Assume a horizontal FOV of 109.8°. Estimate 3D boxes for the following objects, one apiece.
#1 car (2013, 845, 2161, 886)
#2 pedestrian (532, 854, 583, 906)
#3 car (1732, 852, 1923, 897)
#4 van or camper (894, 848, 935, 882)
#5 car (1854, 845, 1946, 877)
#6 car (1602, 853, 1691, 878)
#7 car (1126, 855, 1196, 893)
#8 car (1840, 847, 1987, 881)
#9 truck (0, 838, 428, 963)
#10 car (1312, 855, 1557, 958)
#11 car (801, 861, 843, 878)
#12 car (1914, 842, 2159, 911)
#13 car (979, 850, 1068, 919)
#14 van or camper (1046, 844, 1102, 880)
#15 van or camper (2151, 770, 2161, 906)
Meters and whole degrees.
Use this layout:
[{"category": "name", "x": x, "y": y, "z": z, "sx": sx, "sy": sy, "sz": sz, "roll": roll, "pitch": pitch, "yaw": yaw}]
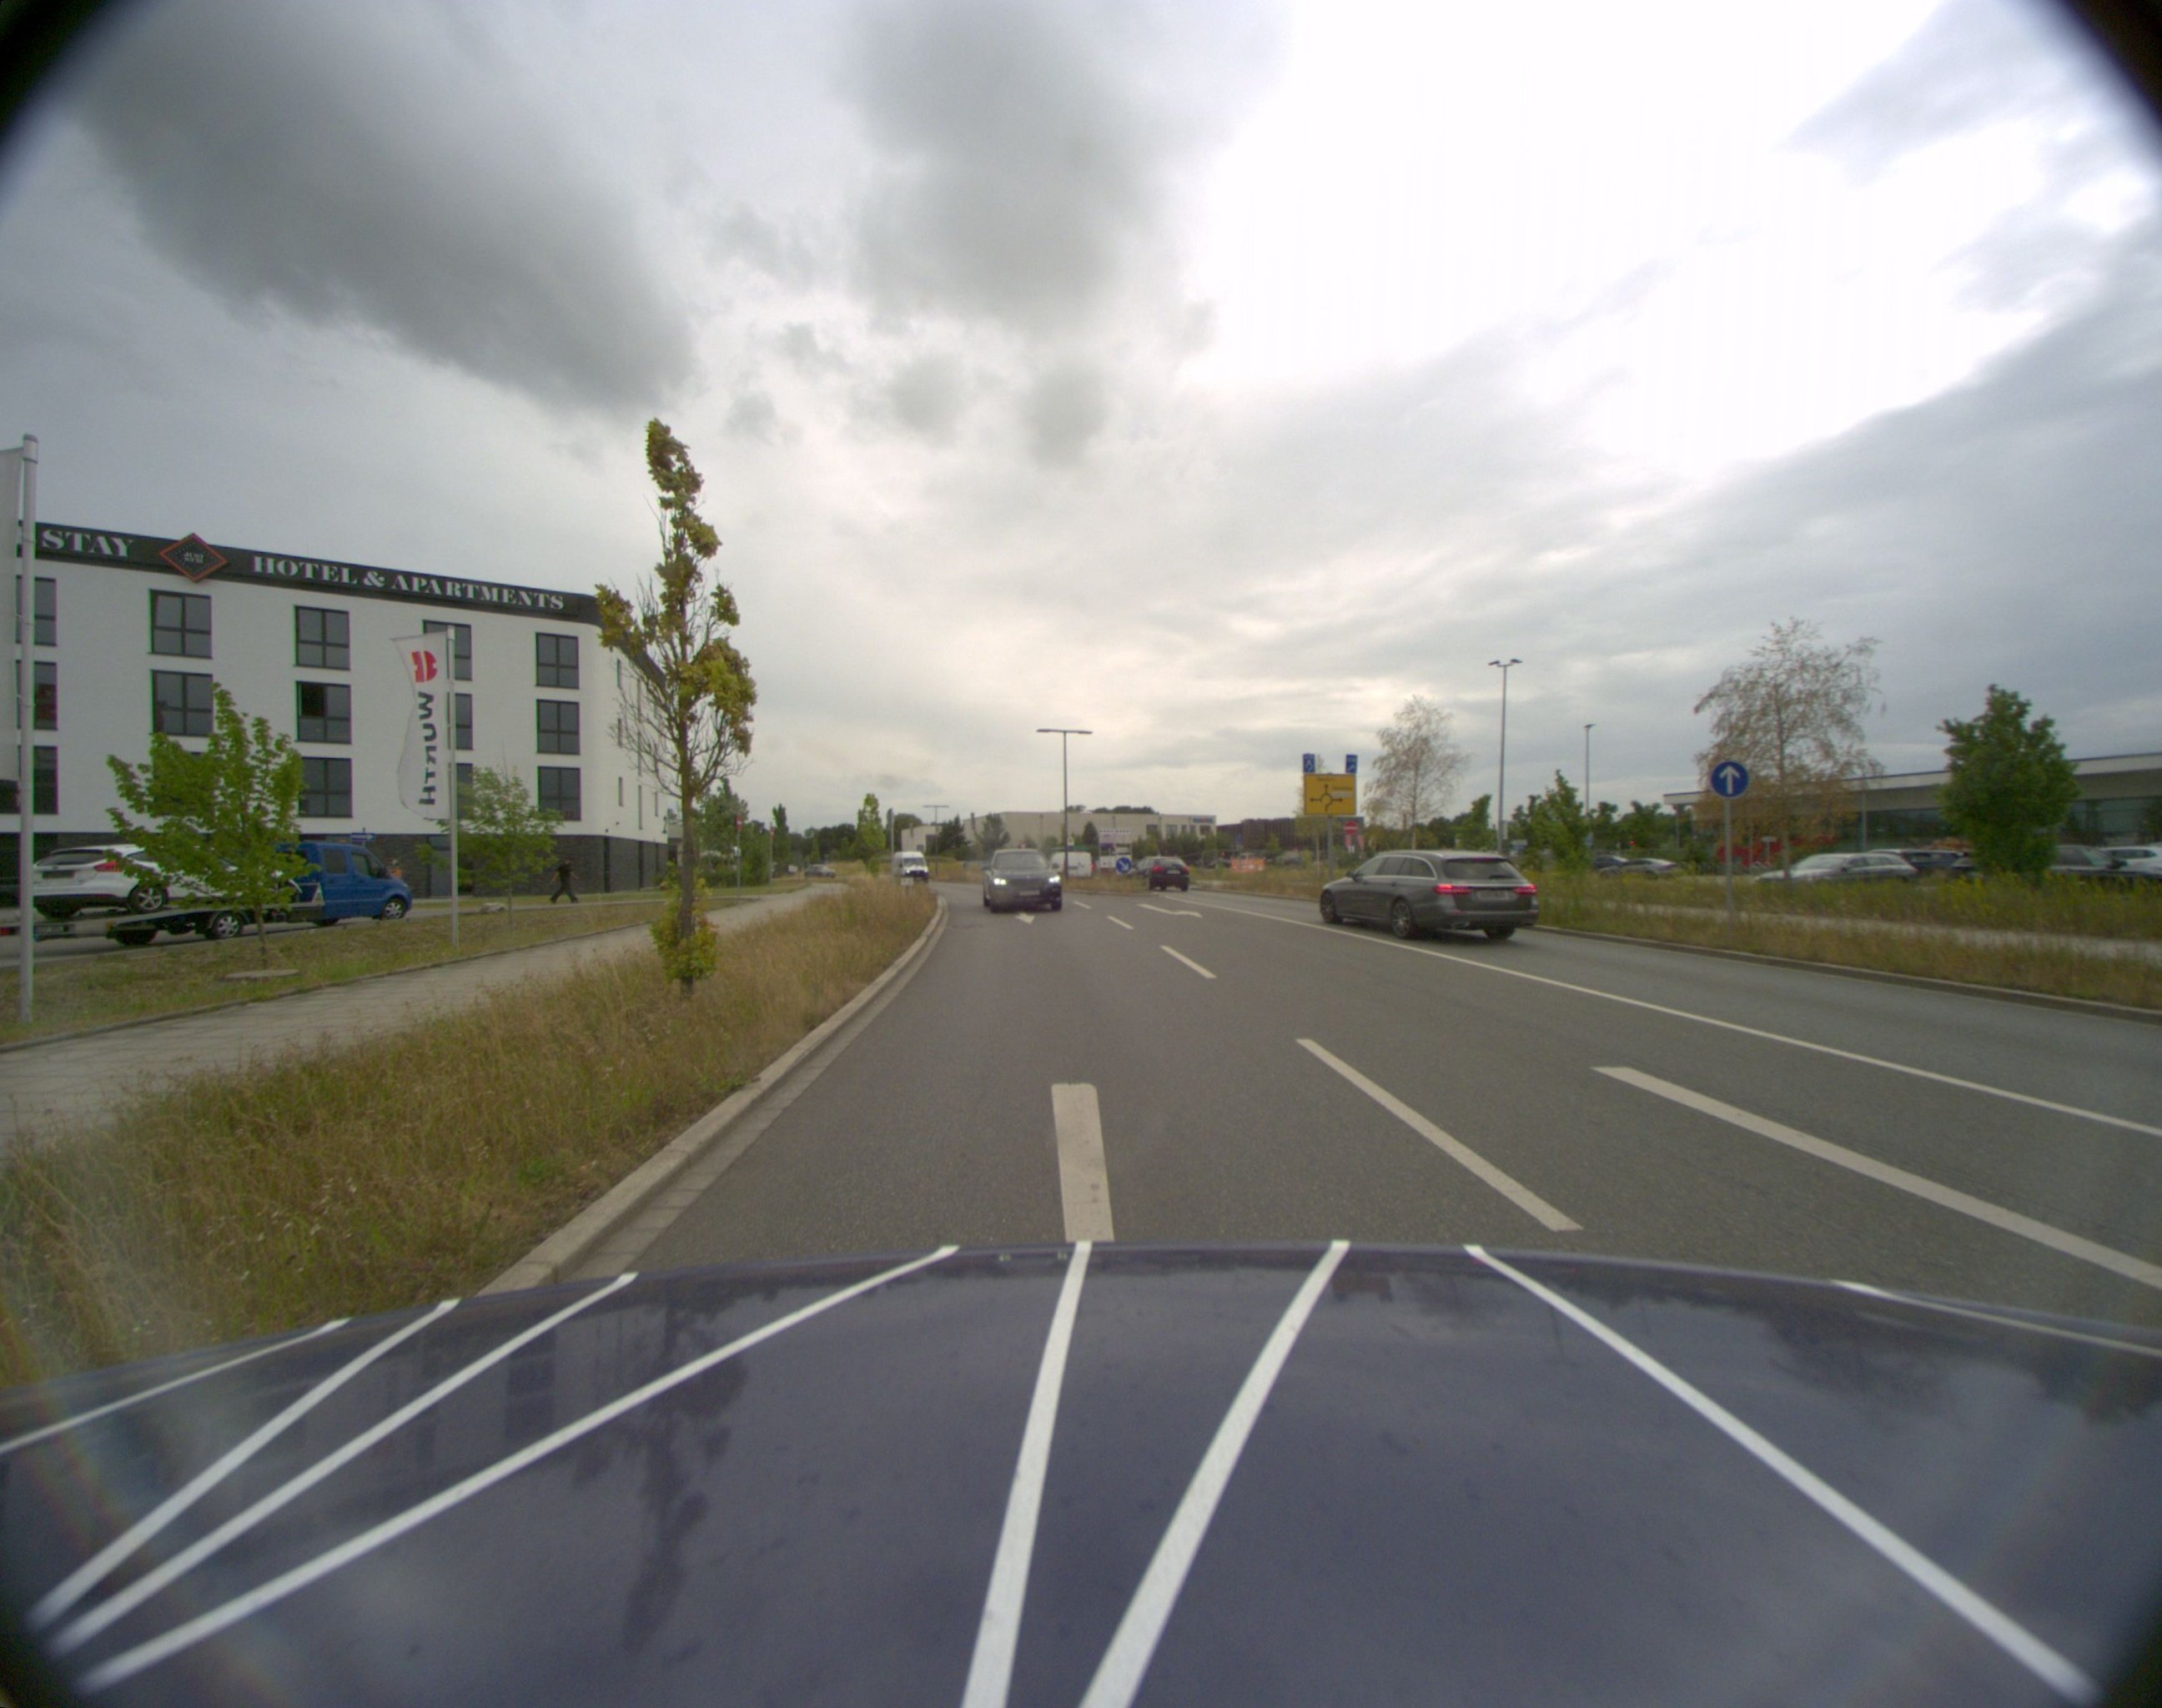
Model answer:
[{"category": "car", "x": 38.691, "y": 0.403, "z": 28.765, "sx": 1.892, "sy": 1.433, "sz": 3.897, "roll": -1, "pitch": 0, "yaw": -17}, {"category": "pedestrian", "x": -19.395, "y": 0.948, "z": 28.177, "sx": 1.196, "sy": 1.847, "sz": 1.073, "roll": -1, "pitch": 2, "yaw": -14}, {"category": "car", "x": 24.588, "y": 0.644, "z": 25.118, "sx": 4.581, "sy": 1.358, "sz": 2.141, "roll": -1, "pitch": 0, "yaw": -7}, {"category": "van or camper", "x": -13.588, "y": 0.869, "z": 61.731, "sx": 2.268, "sy": 2.601, "sz": 5.686, "roll": -1, "pitch": 0, "yaw": -22}, {"category": "car", "x": 47.480, "y": 0.388, "z": 44.064, "sx": 4.002, "sy": 1.718, "sz": 1.950, "roll": -1, "pitch": 0, "yaw": -14}, {"category": "car", "x": 35.191, "y": 0.676, "z": 47.407, "sx": 1.833, "sy": 1.443, "sz": 4.189, "roll": -1, "pitch": 0, "yaw": -18}, {"category": "car", "x": 3.332, "y": 0.797, "z": 32.407, "sx": 1.724, "sy": 1.437, "sz": 4.230, "roll": 0, "pitch": 0, "yaw": -12}, {"category": "car", "x": 37.010, "y": 0.426, "z": 33.914, "sx": 1.851, "sy": 1.433, "sz": 4.058, "roll": -1, "pitch": 0, "yaw": -22}, {"category": "truck", "x": -20.119, "y": 0.877, "z": 18.307, "sx": 2.233, "sy": 2.312, "sz": 8.210, "roll": -1, "pitch": 0, "yaw": -5}, {"category": "car", "x": 5.944, "y": 0.774, "z": 13.568, "sx": 1.790, "sy": 1.481, "sz": 4.764, "roll": 0, "pitch": 0, "yaw": -6}, {"category": "car", "x": -27.074, "y": 1.623, "z": 79.414, "sx": 3.989, "sy": 1.576, "sz": 2.004, "roll": -1, "pitch": 1, "yaw": 33}, {"category": "car", "x": 24.573, "y": 0.539, "z": 19.661, "sx": 3.955, "sy": 1.624, "sz": 2.084, "roll": -1, "pitch": 0, "yaw": -4}, {"category": "car", "x": -1.707, "y": 0.761, "z": 21.097, "sx": 2.000, "sy": 1.654, "sz": 3.996, "roll": -2, "pitch": 0, "yaw": -10}, {"category": "van or camper", "x": -0.485, "y": 0.458, "z": 45.256, "sx": 1.954, "sy": 1.996, "sz": 5.120, "roll": 0, "pitch": 0, "yaw": -17}, {"category": "van or camper", "x": 25.262, "y": -0.349, "z": 14.963, "sx": 5.870, "sy": 2.784, "sz": 2.242, "roll": -1, "pitch": 1, "yaw": -6}]
